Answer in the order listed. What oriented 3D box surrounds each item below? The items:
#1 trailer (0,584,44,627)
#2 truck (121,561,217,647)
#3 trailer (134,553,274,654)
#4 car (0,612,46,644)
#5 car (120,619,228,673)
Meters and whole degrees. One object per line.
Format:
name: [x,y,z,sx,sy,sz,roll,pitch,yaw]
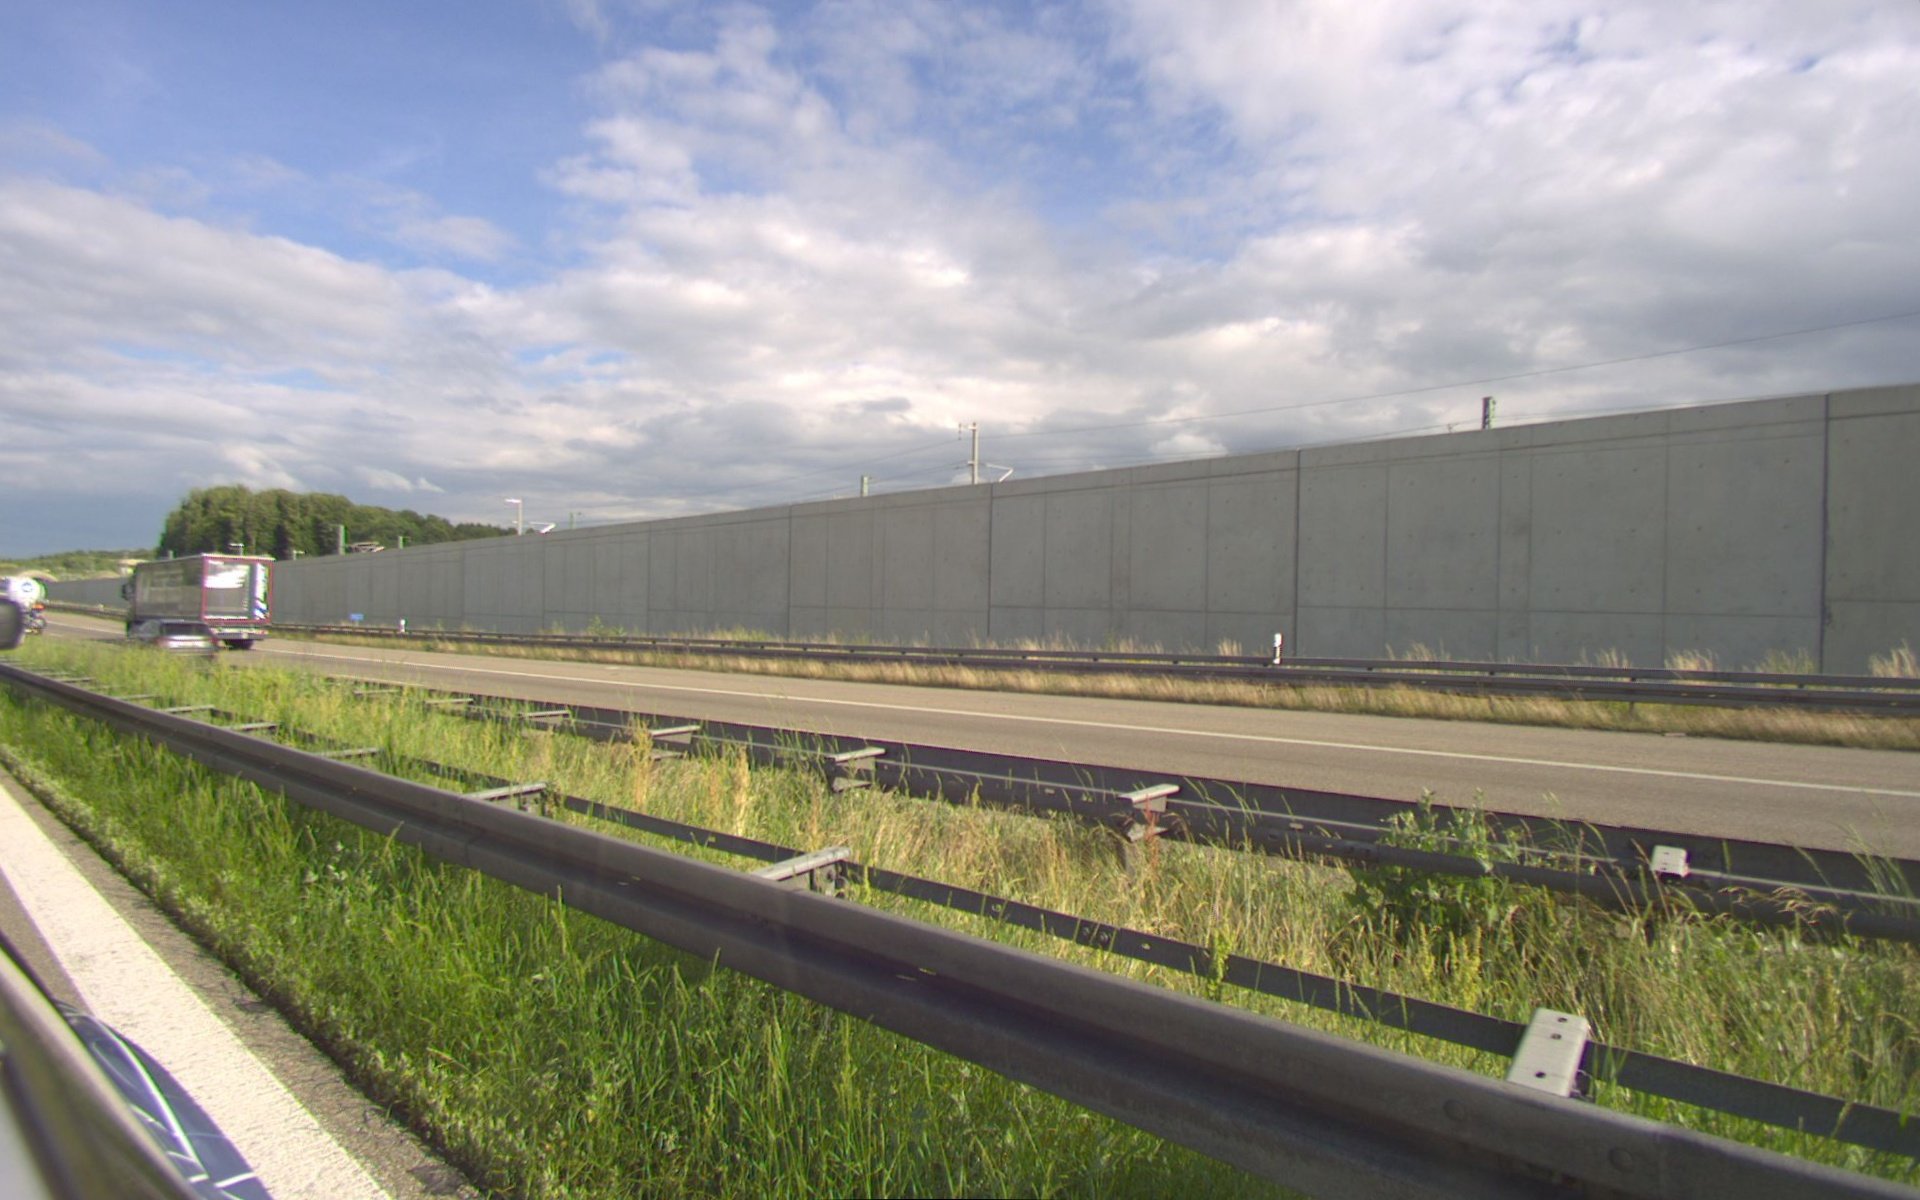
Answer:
trailer: [-87.527,0.521,93.326,12.526,3.799,2.515,0,-2,39]
truck: [-40.168,0.212,51.323,6.952,4.121,2.724,-1,-1,42]
trailer: [-35.167,0.187,46.798,12.900,4.146,2.730,0,-1,42]
car: [-52.630,1.518,56.520,5.109,1.644,1.868,0,0,42]
car: [-24.065,1.343,30.947,4.182,1.475,1.882,0,0,42]
